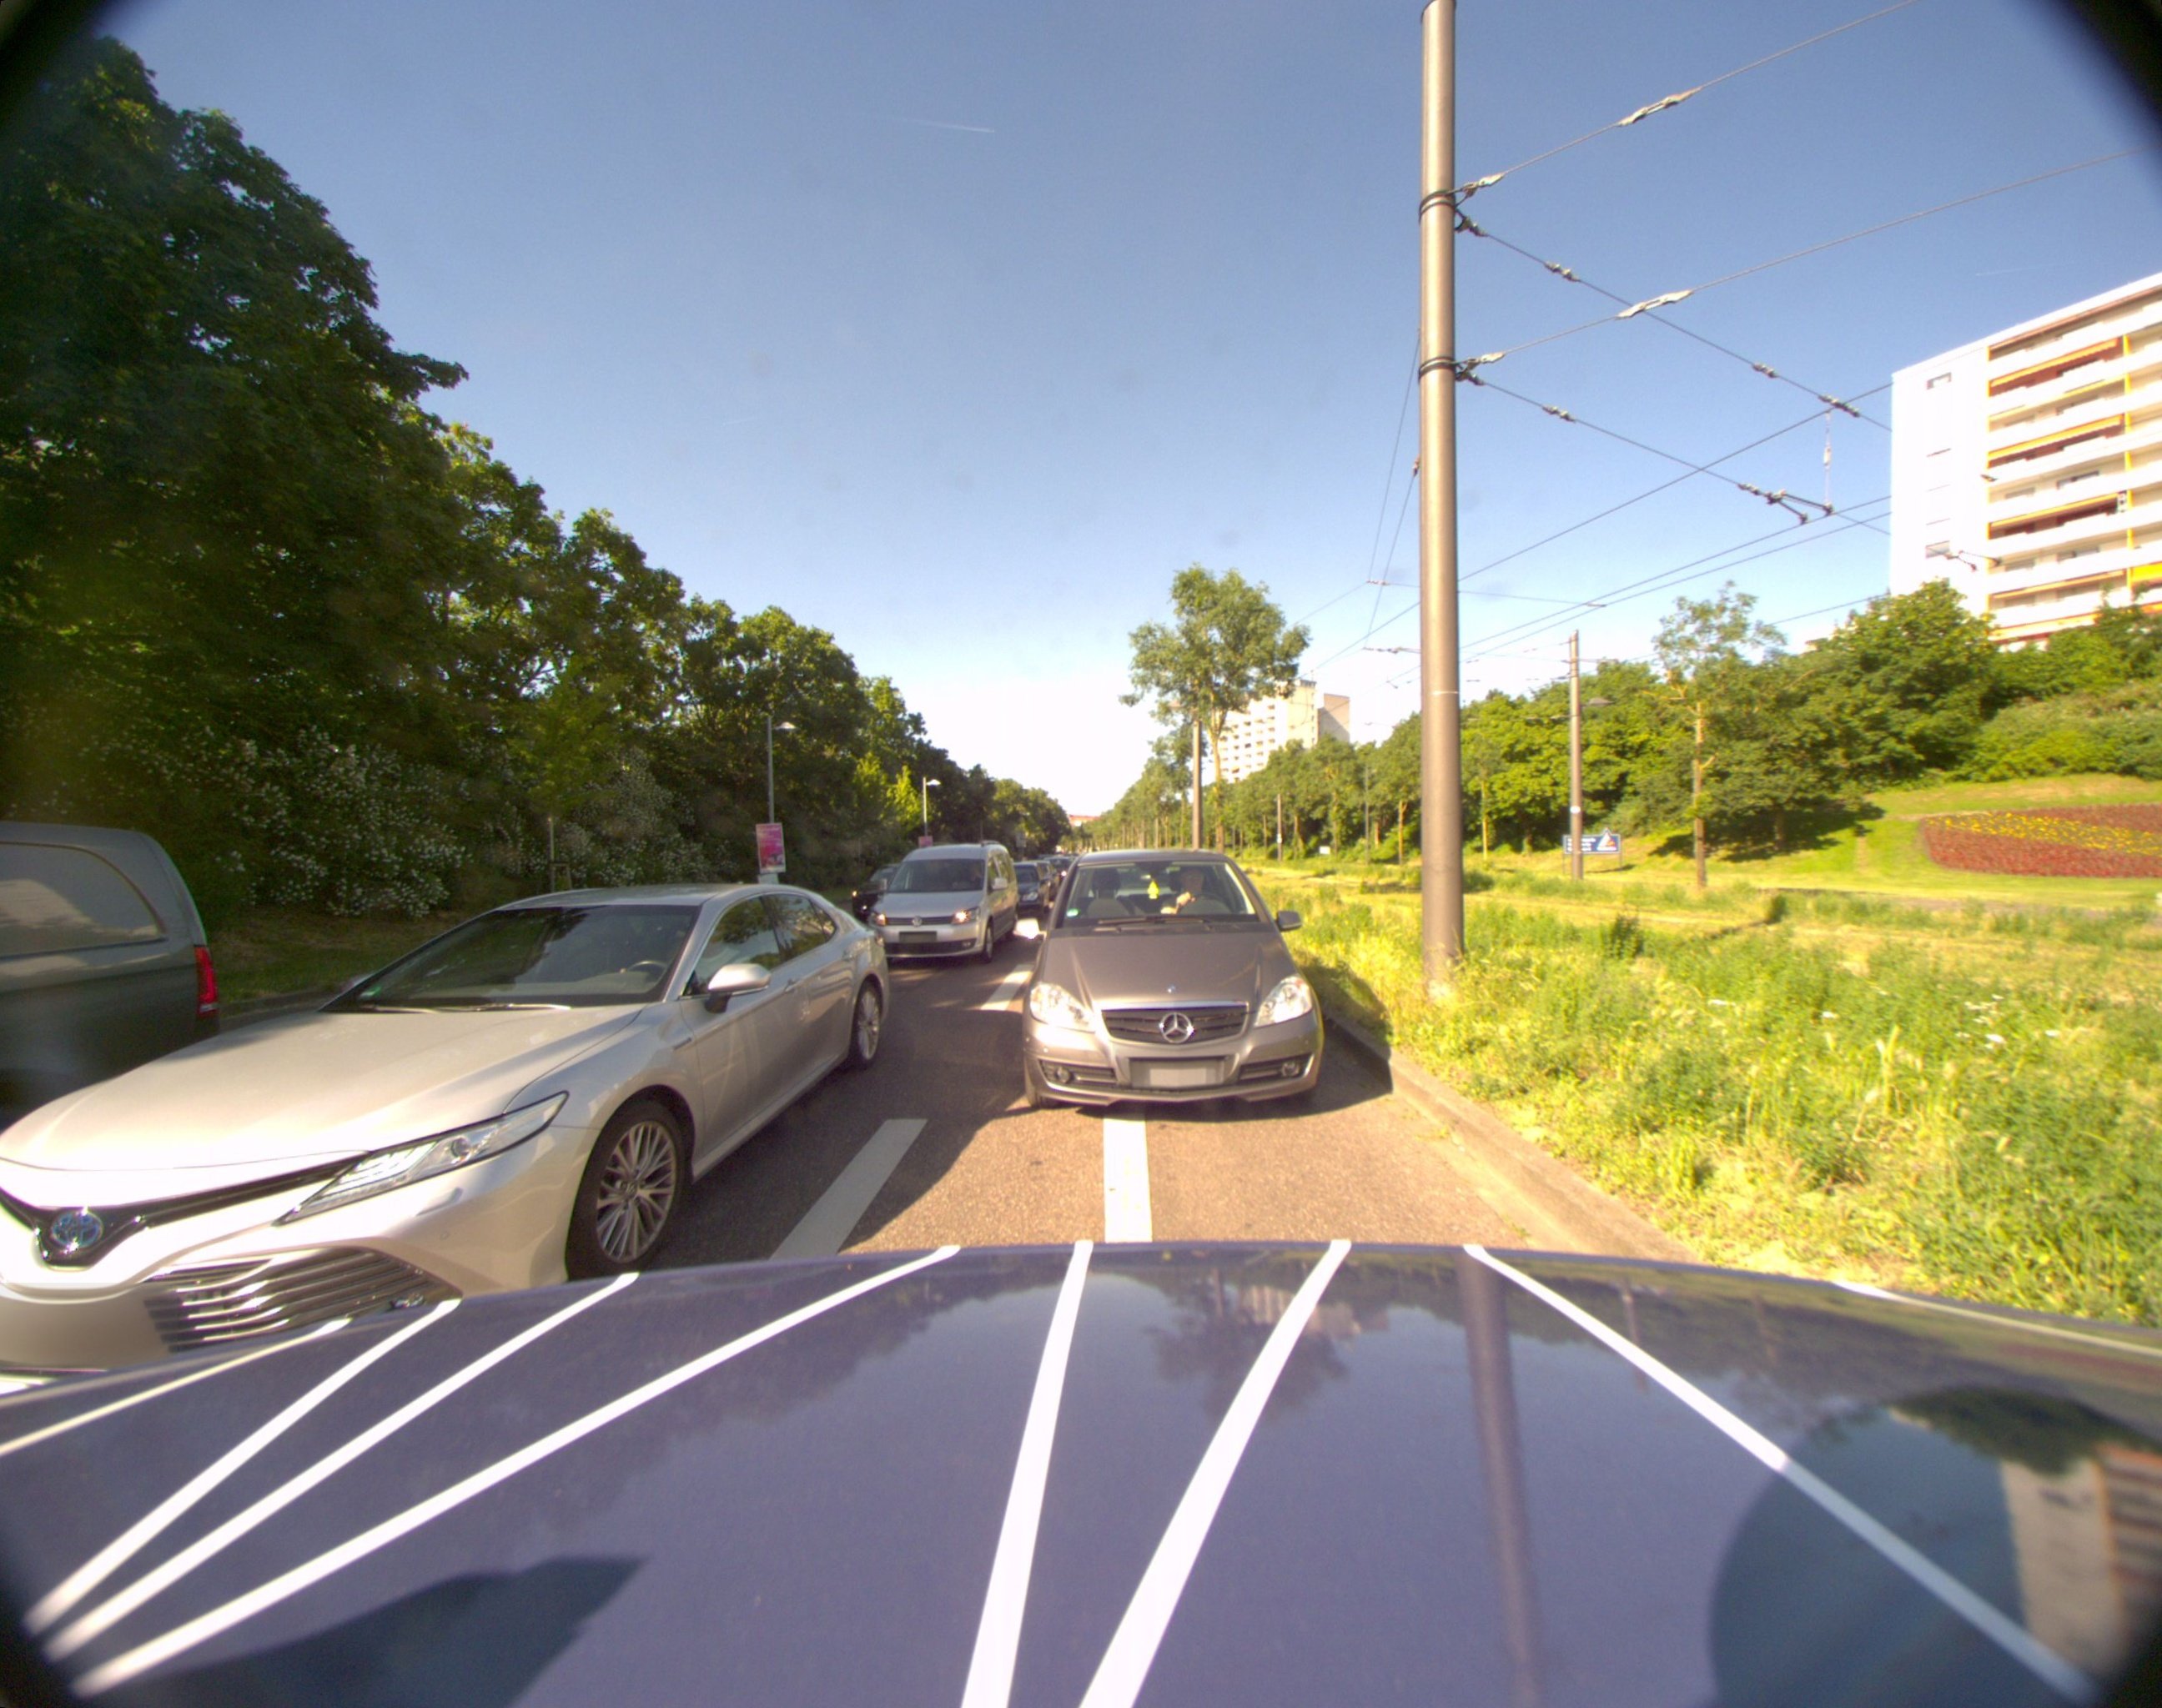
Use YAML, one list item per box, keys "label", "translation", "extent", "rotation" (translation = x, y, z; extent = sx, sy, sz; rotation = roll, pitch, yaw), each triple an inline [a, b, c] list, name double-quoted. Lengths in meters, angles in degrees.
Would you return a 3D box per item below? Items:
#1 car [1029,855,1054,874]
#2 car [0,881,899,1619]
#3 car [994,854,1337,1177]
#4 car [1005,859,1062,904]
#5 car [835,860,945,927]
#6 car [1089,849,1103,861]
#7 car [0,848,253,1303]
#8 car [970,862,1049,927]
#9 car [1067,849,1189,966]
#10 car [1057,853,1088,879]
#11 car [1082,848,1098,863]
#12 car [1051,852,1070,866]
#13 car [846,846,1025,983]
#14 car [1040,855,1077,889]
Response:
- label: "car"
  translation: [-3.301, 0.862, 64.151]
  extent: [1.713, 1.430, 4.171]
  rotation: [-1, 0, 1]
- label: "car"
  translation: [-2.544, 1.008, 4.073]
  extent: [1.809, 1.484, 4.682]
  rotation: [-2, 0, 2]
- label: "car"
  translation: [0.474, 0.858, 6.005]
  extent: [1.749, 1.630, 4.000]
  rotation: [-2, 0, 1]
- label: "car"
  translation: [-1.632, 0.940, 27.343]
  extent: [1.723, 1.411, 4.050]
  rotation: [-1, 0, 1]
- label: "car"
  translation: [-5.061, 0.997, 20.785]
  extent: [1.772, 1.499, 4.225]
  rotation: [-2, 1, 2]
- label: "car"
  translation: [1.896, 0.091, 97.899]
  extent: [1.685, 1.437, 3.727]
  rotation: [-2, 1, 2]
- label: "car"
  translation: [-5.358, 0.911, 1.448]
  extent: [1.808, 1.841, 5.103]
  rotation: [0, 0, 3]
- label: "car"
  translation: [-1.743, 0.967, 19.756]
  extent: [1.717, 1.445, 4.197]
  rotation: [-1, 0, -1]
- label: "car"
  translation: [0.725, 0.784, 13.230]
  extent: [1.749, 1.652, 3.999]
  rotation: [-2, 1, 1]
- label: "car"
  translation: [-0.474, 0.709, 45.825]
  extent: [1.713, 1.430, 4.171]
  rotation: [-2, 0, 1]
- label: "car"
  translation: [0.992, 0.158, 81.967]
  extent: [1.685, 1.437, 3.727]
  rotation: [-2, 1, 2]
- label: "car"
  translation: [-2.245, 0.525, 84.259]
  extent: [1.749, 1.427, 4.386]
  rotation: [-2, 1, 2]
- label: "car"
  translation: [-2.155, 0.805, 12.615]
  extent: [1.808, 1.811, 4.587]
  rotation: [-2, 1, 3]
- label: "car"
  translation: [-1.046, 0.827, 36.592]
  extent: [1.621, 1.485, 3.452]
  rotation: [-2, 1, 0]
